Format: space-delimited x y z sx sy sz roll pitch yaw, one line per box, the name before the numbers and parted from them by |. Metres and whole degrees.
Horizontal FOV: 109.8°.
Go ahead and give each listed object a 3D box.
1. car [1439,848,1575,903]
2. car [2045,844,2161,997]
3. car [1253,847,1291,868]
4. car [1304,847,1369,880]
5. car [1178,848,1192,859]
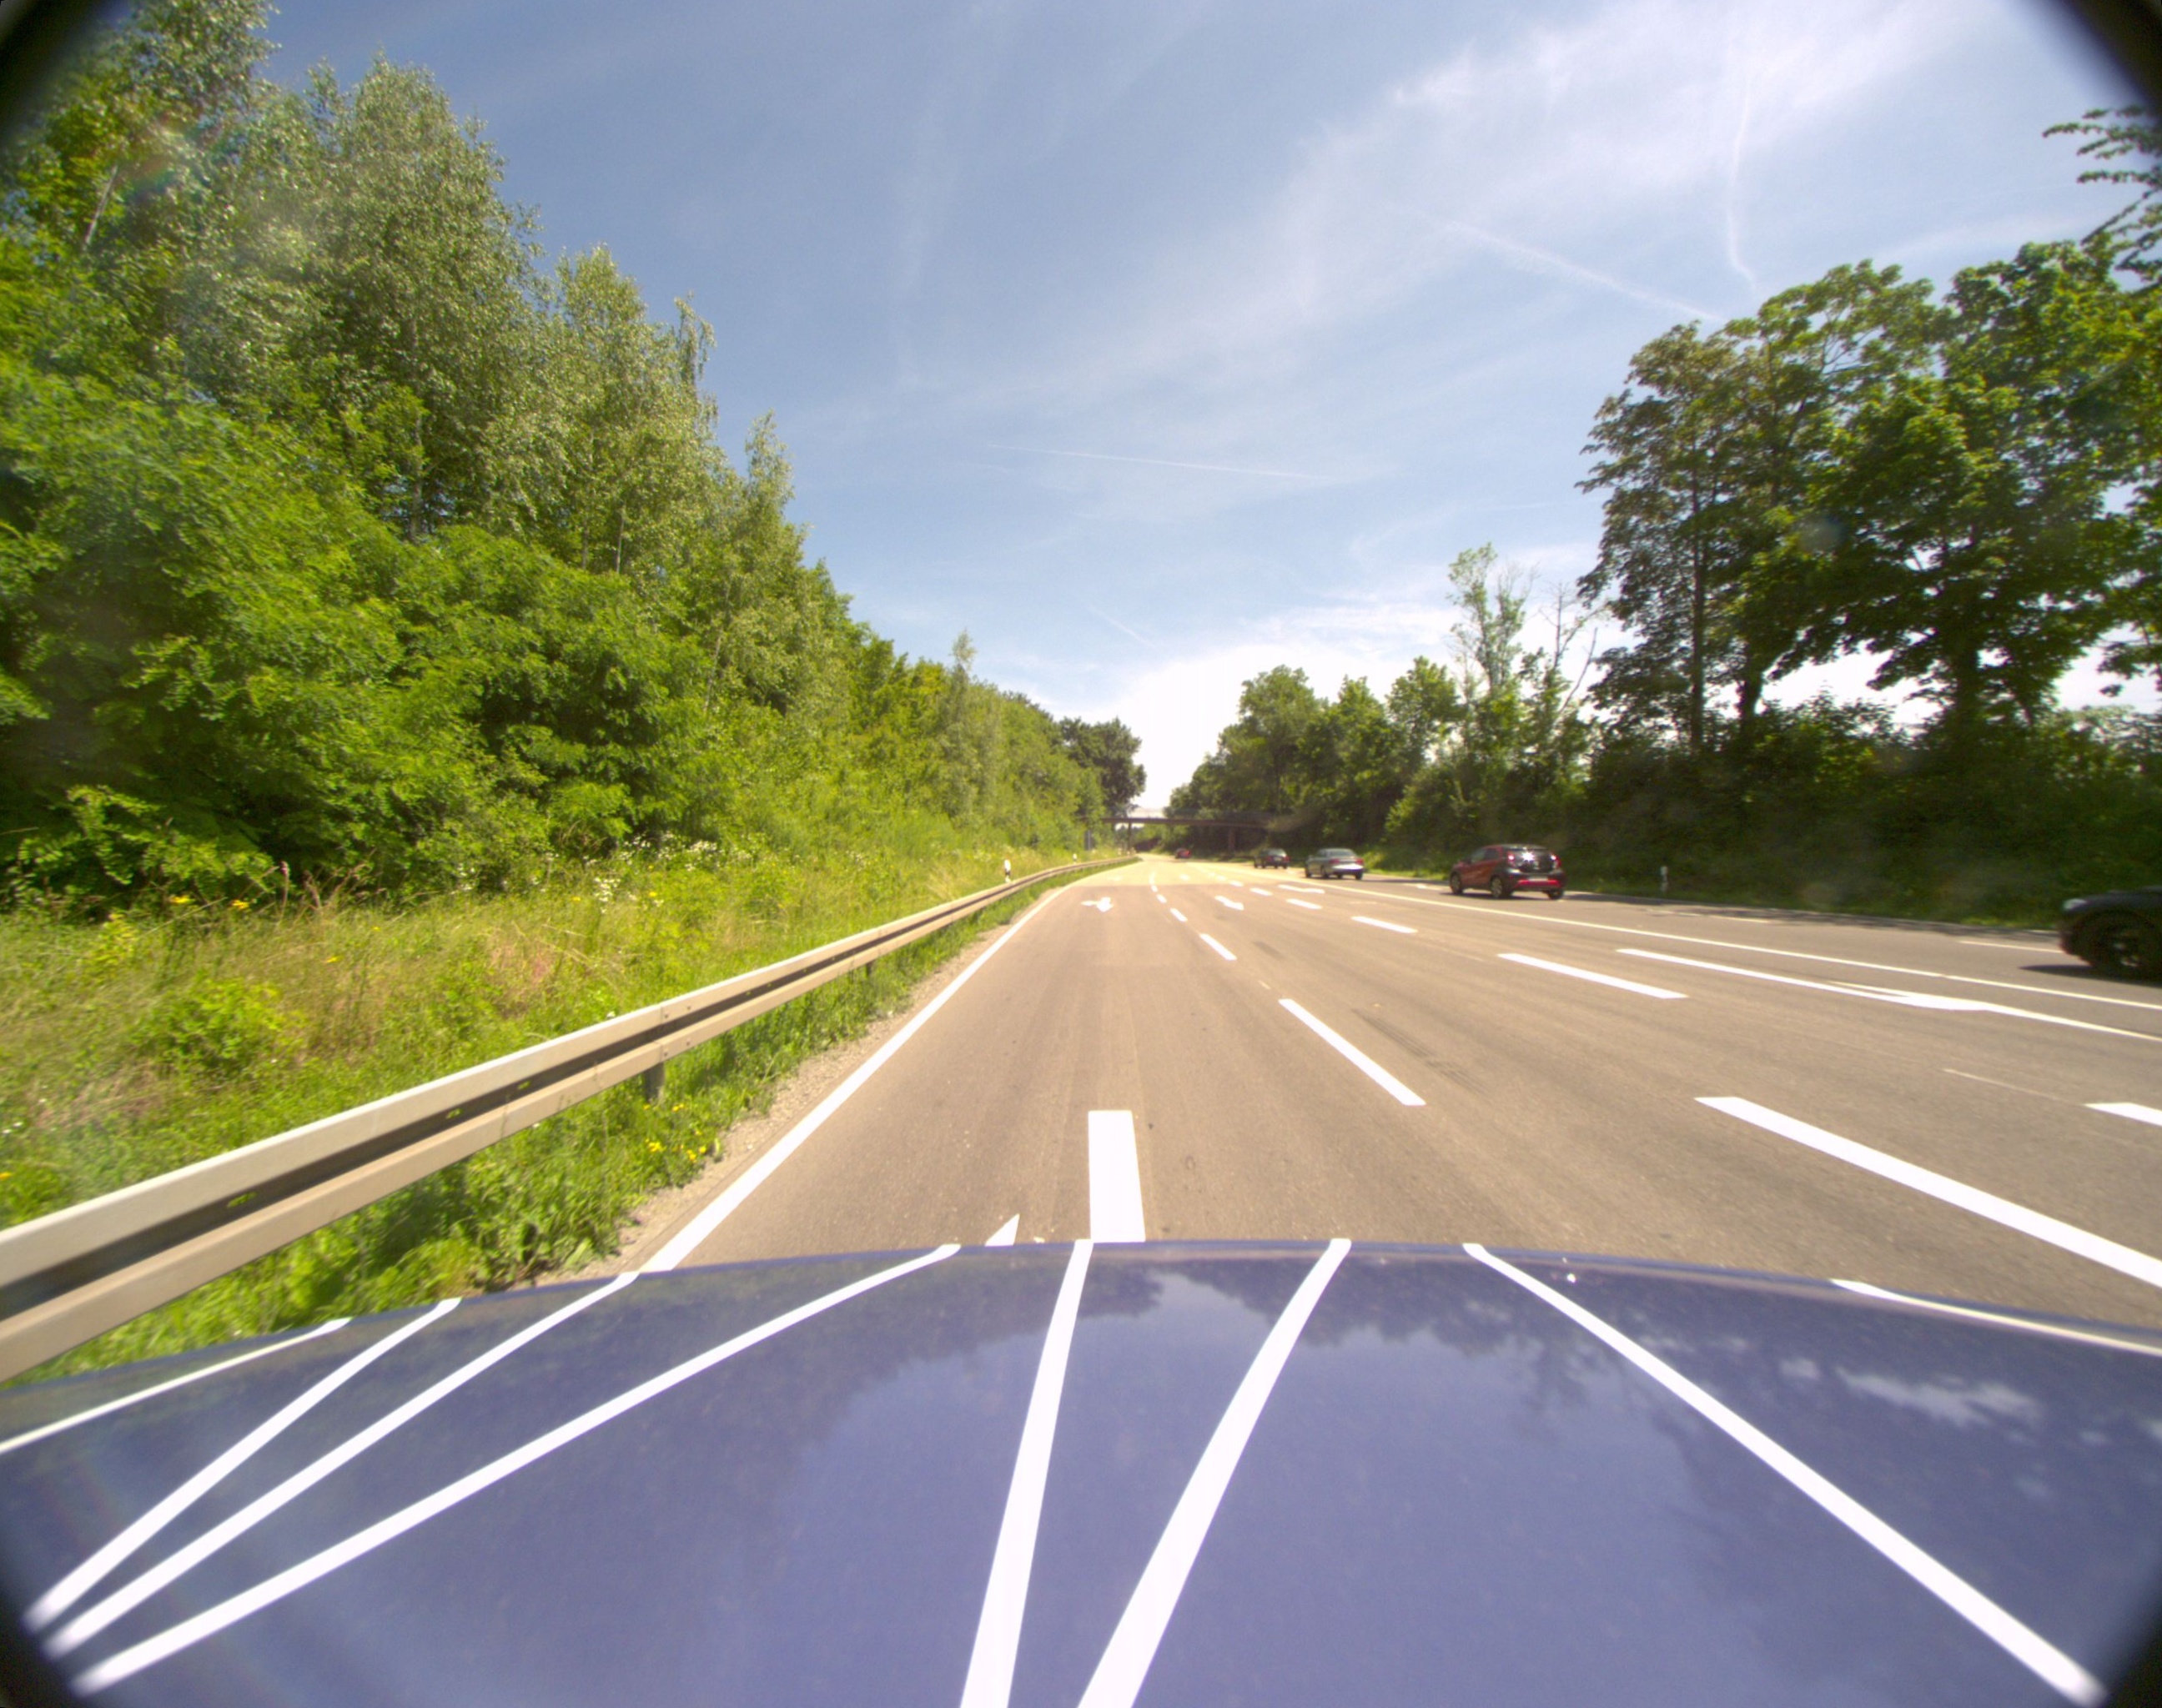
car | 12.120 0.545 21.938 1.646 1.430 4.016 -1 1 0
car | 11.287 0.644 5.816 1.923 1.472 4.687 0 0 2
car | 13.766 0.201 54.856 1.771 1.378 3.999 -2 1 1
car | 11.994 0.412 35.940 1.771 1.378 3.999 -2 1 1
car | 15.127 -0.104 110.785 1.907 1.500 3.765 -1 1 5
